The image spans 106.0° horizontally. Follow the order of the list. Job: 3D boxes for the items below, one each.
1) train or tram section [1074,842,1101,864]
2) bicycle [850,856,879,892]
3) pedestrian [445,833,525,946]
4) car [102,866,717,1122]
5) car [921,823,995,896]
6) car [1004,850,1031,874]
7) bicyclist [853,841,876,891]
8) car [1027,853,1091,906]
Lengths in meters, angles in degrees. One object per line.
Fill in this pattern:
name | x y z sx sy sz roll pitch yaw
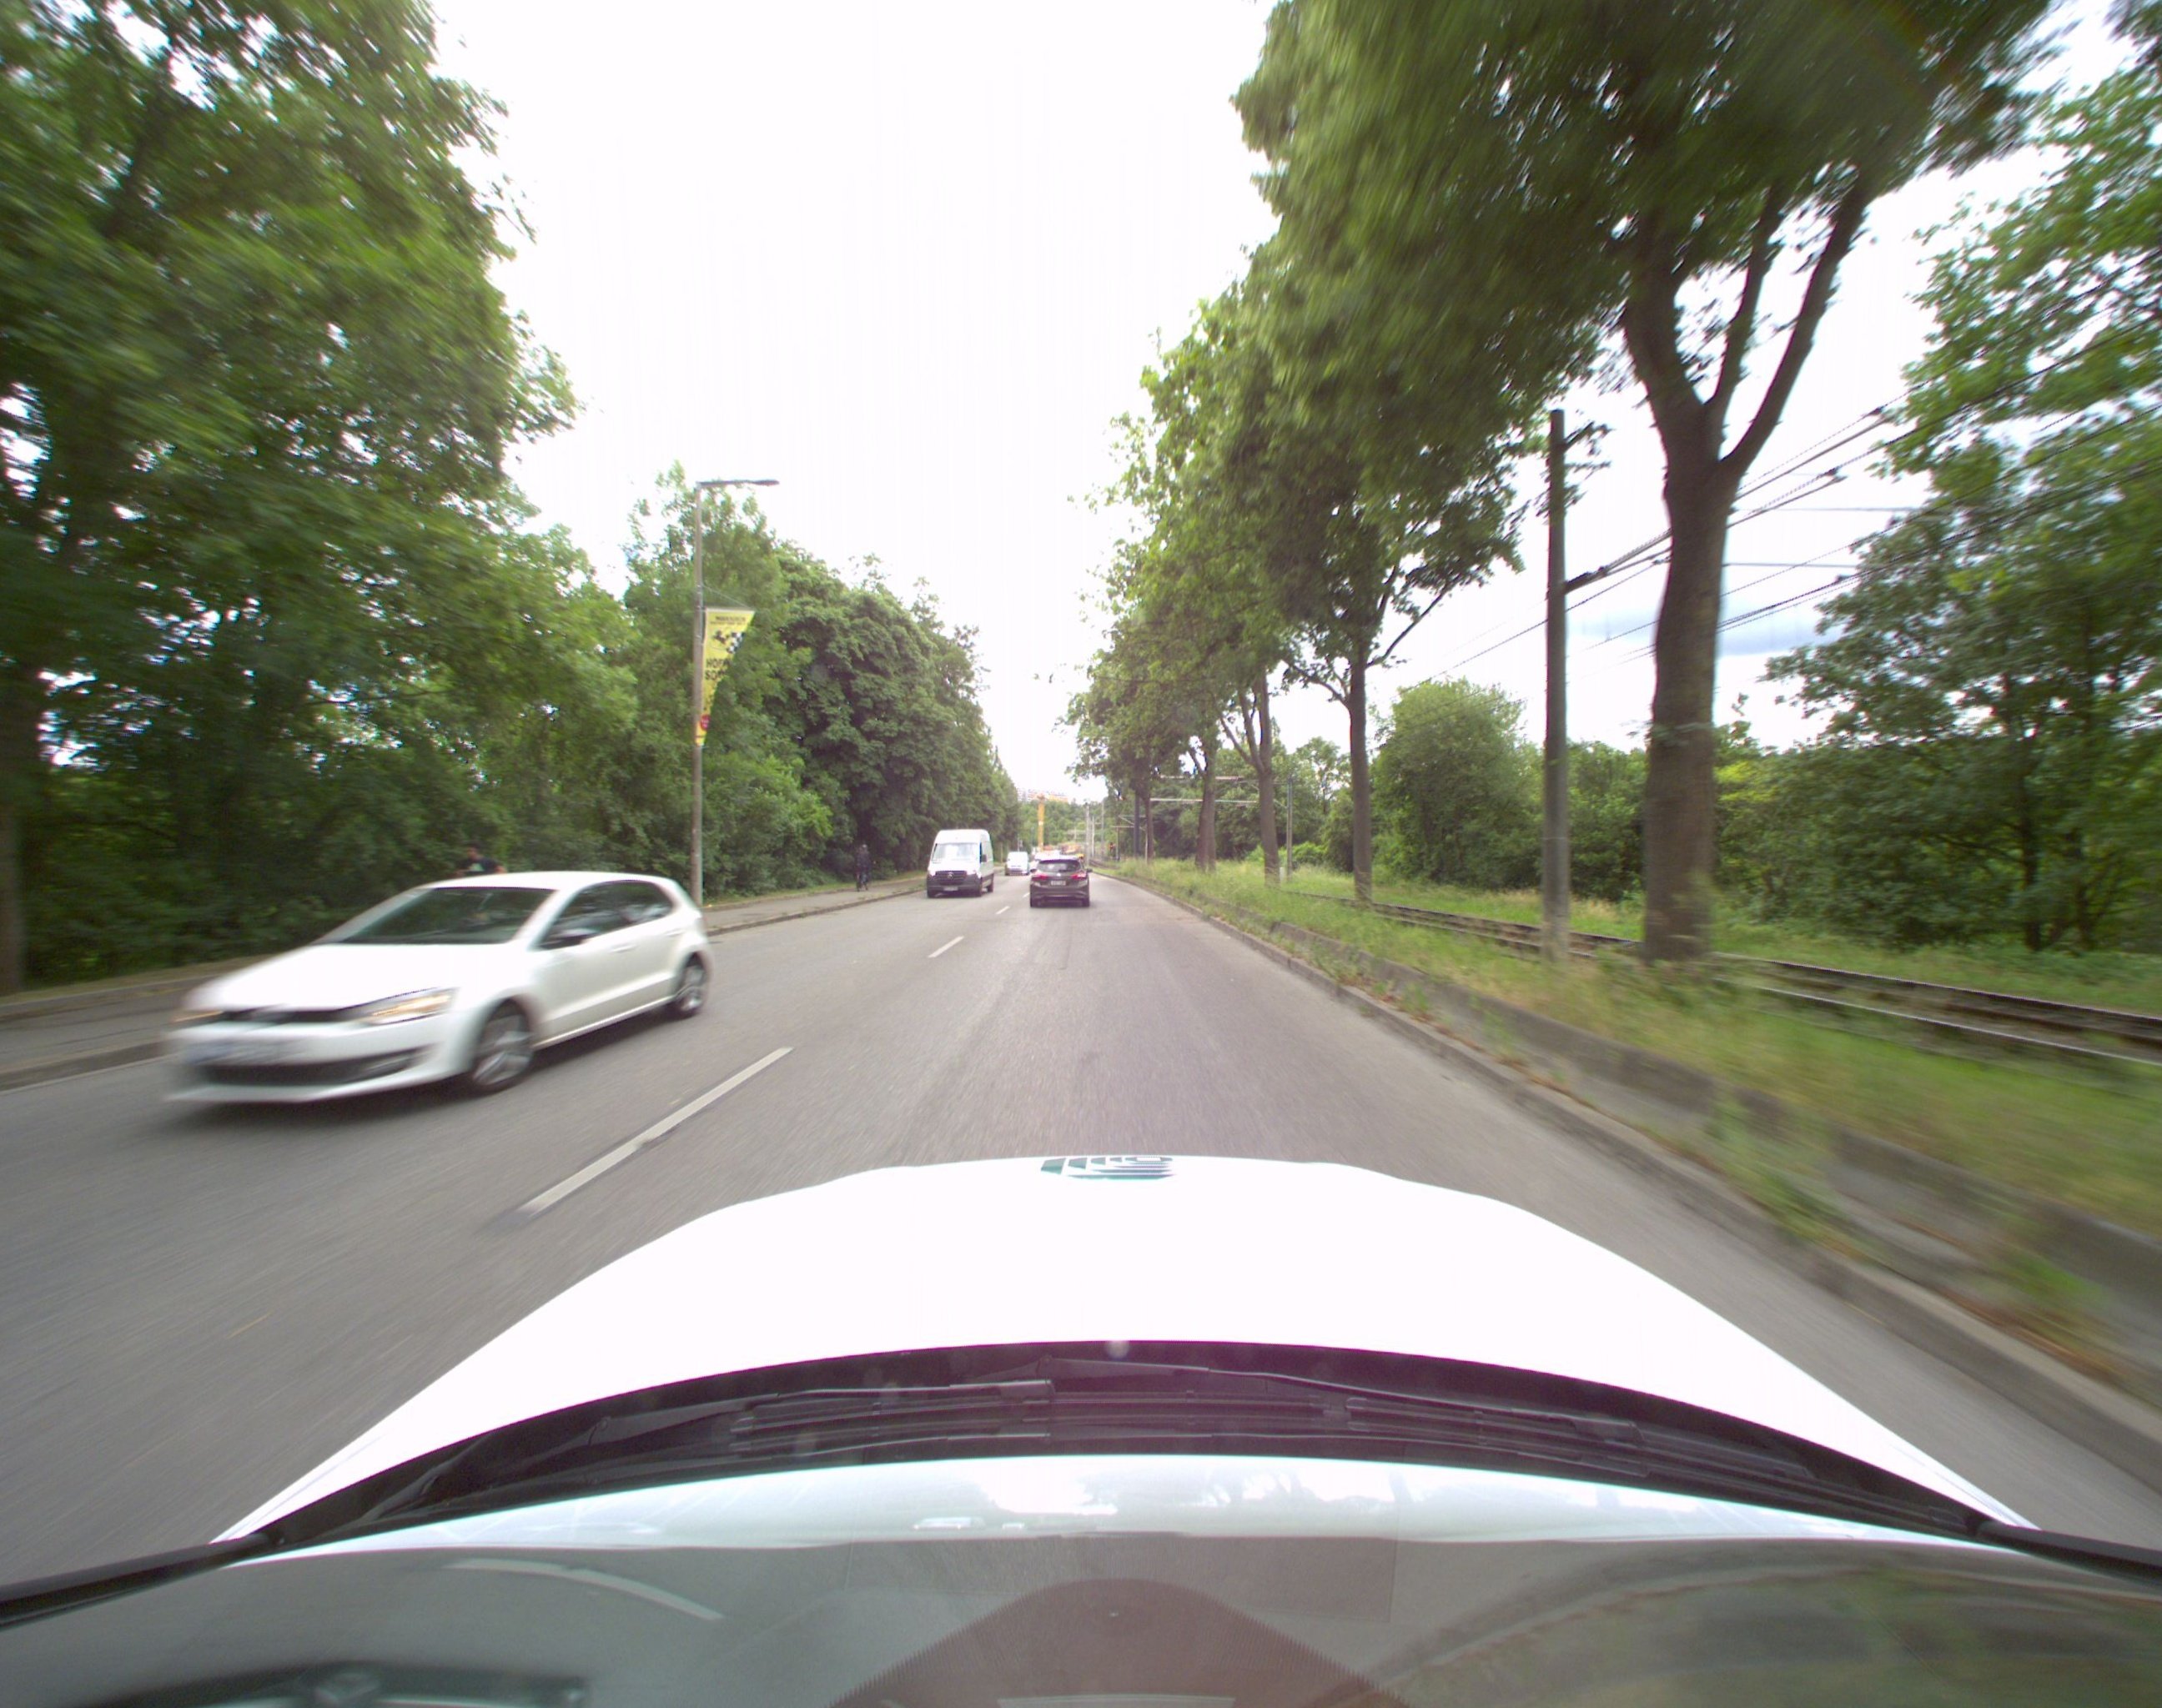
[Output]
train or tram section | 1.649 -0.057 225.769 3.029 5.183 22.963 2 -3 -11
bicycle | -8.484 0.771 31.995 0.697 1.331 2.276 2 0 -6
pedestrian | -9.409 0.545 12.890 0.597 1.714 0.814 2 0 0
car | -4.756 0.836 6.695 1.718 1.428 3.999 0 -1 0
car | -4.738 0.207 32.367 1.987 2.626 5.895 0 0 0
car | -4.928 0.592 63.575 1.851 1.799 4.553 -1 0 -2
bicyclist | -8.461 0.464 31.806 0.685 1.948 0.834 1 -1 -6
car | -0.704 0.745 25.220 1.825 1.510 3.996 0 0 -3
